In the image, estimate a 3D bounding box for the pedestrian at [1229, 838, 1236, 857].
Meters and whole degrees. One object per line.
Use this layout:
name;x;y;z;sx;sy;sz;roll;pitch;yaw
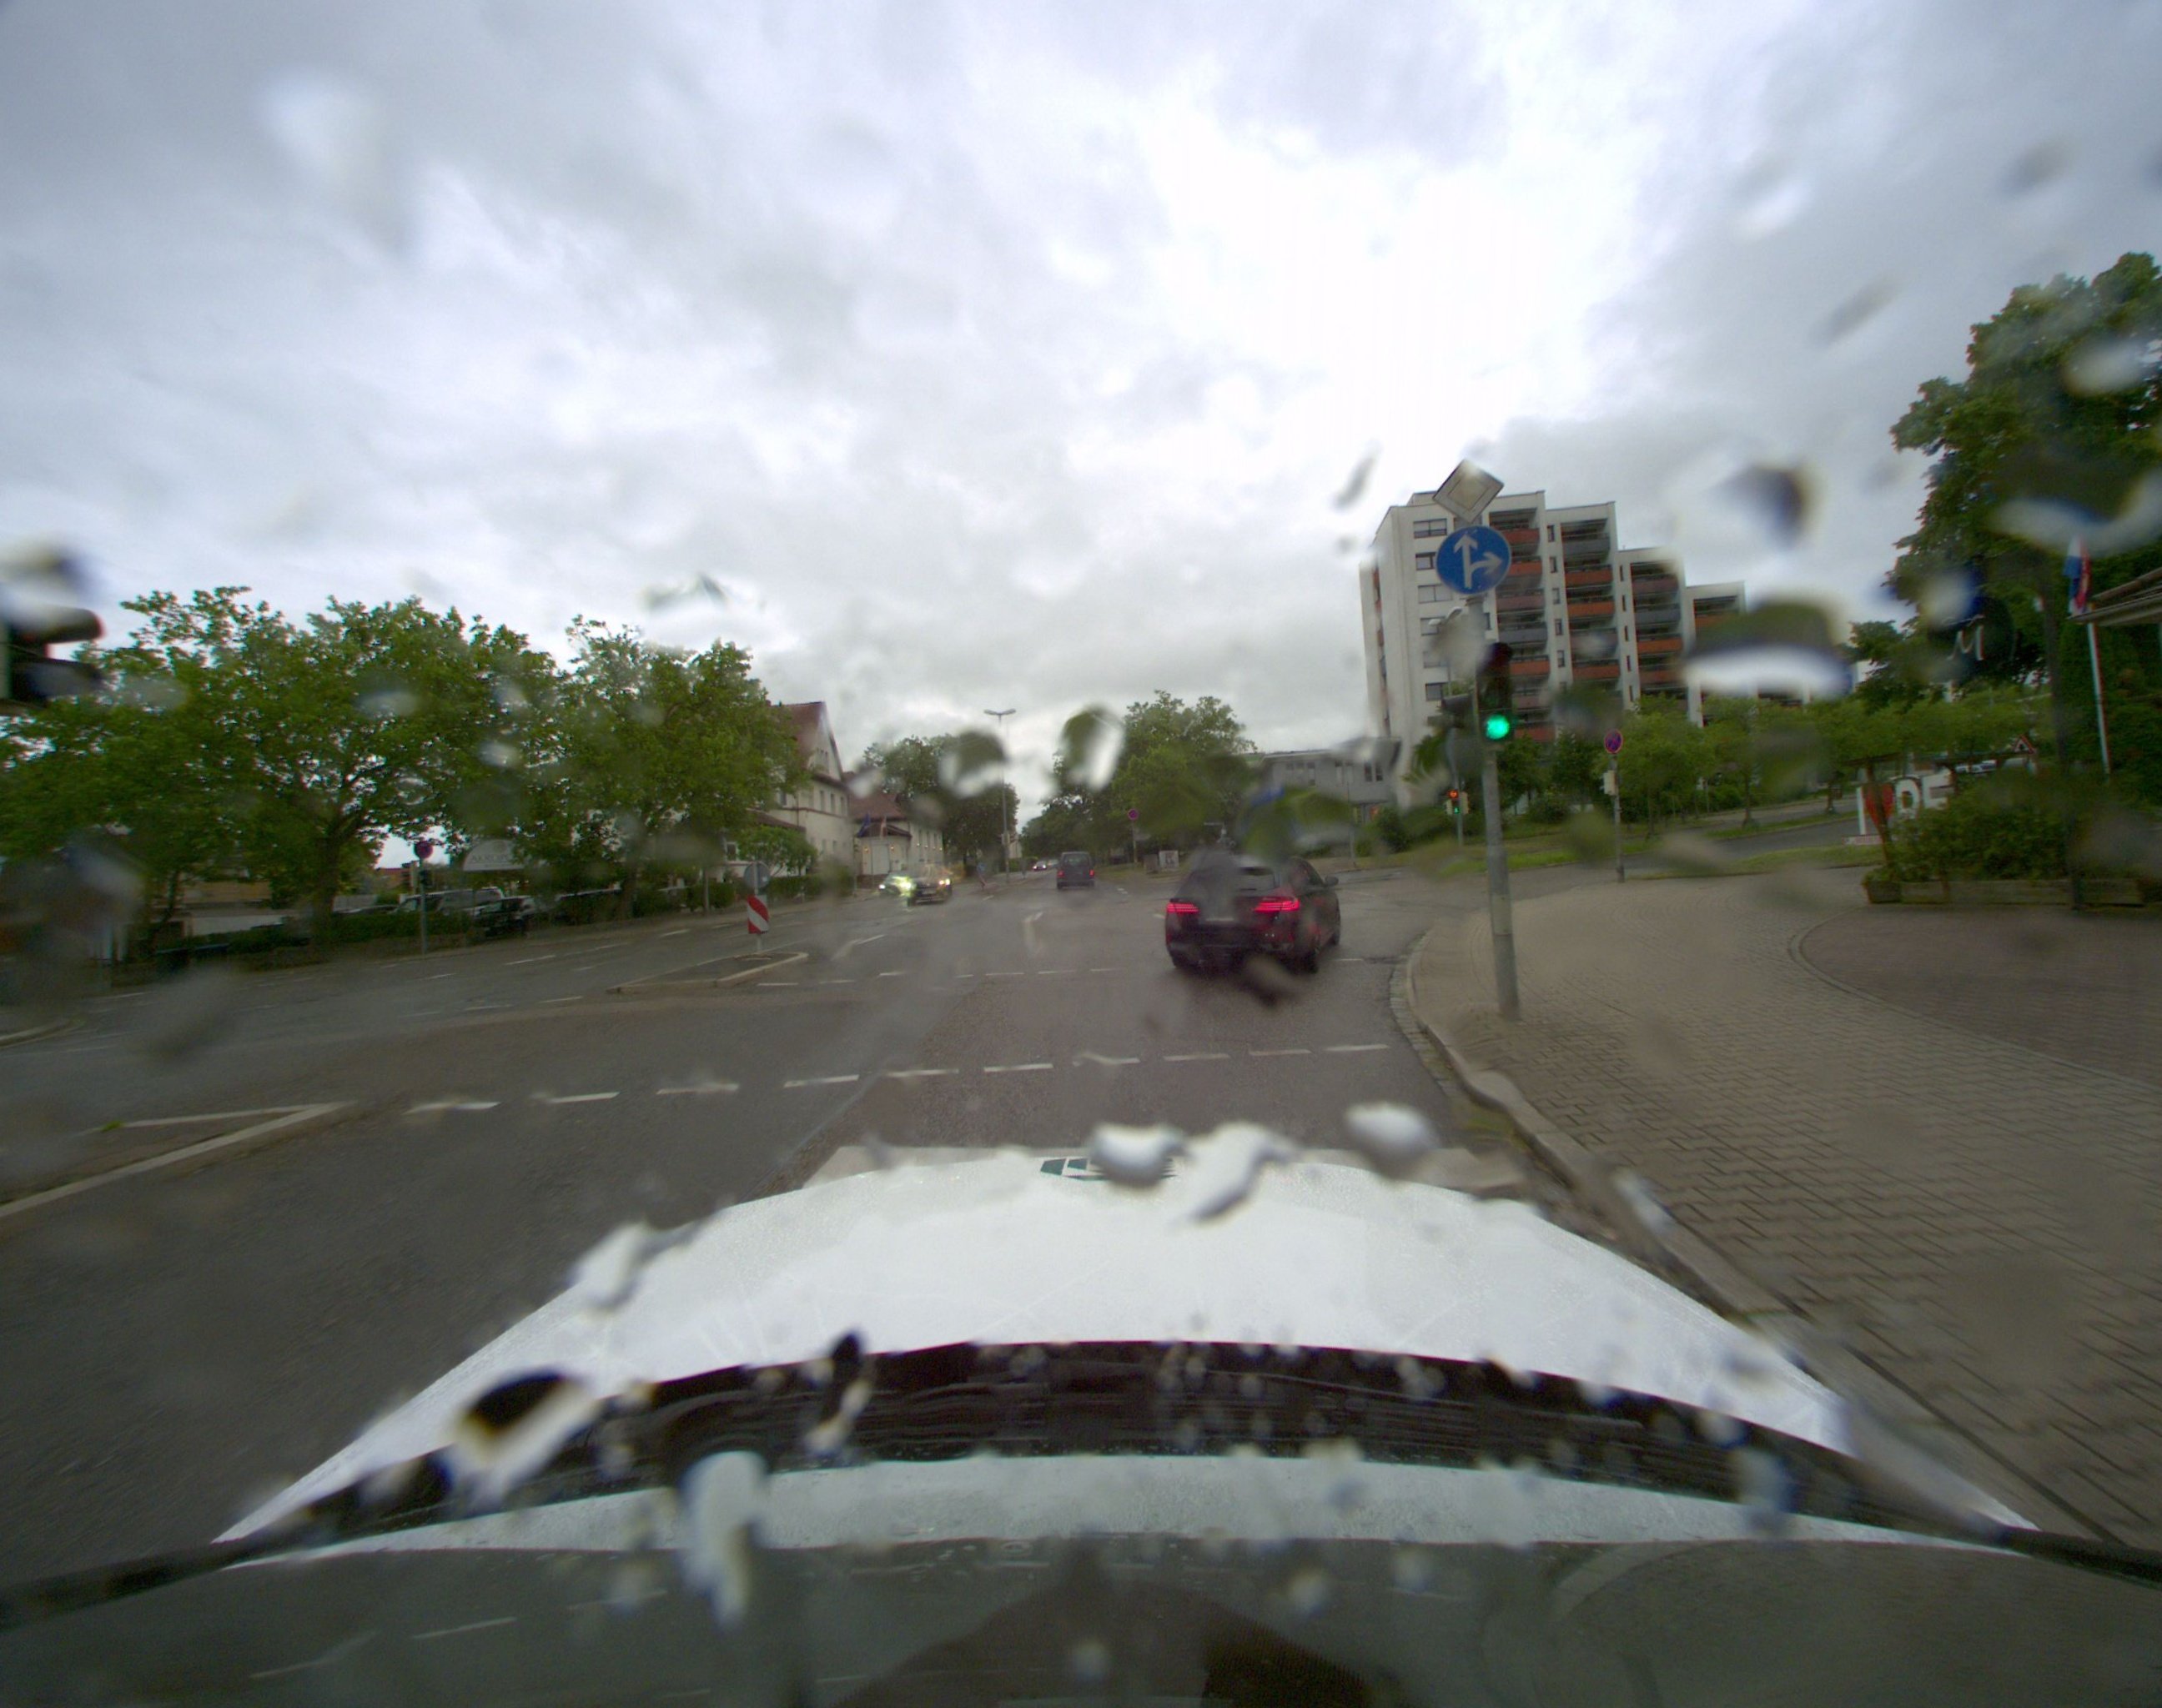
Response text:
pedestrian;12.943;-0.568;69.590;0.597;1.617;0.527;-2;-1;8

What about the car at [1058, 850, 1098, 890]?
car;-0.158;0.767;39.679;1.807;1.809;3.754;-2;-1;-1

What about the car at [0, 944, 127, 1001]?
car;-37.013;4.202;29.036;1.800;1.554;3.500;-2;-1;2

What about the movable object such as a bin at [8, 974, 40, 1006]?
movable object such as a bin;-32.128;4.133;24.758;0.446;0.906;0.456;-2;-1;17

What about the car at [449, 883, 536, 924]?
car;-32.705;2.702;45.429;1.988;2.014;3.996;-2;-1;-2

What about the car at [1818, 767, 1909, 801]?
car;56.443;-5.044;58.871;1.996;2.014;4.345;-1;-1;-14

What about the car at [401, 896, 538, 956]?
car;-21.853;2.513;29.321;1.803;1.551;4.001;-2;3;0

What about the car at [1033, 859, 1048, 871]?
car;-5.776;1.558;115.781;1.787;1.527;4.208;-3;1;0

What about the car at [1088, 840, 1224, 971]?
car;0.916;0.642;11.593;1.519;1.534;3.530;-2;-1;-1

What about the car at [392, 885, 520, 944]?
car;-24.232;2.287;31.800;1.803;1.762;4.001;-2;3;0

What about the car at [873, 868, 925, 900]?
car;-10.006;1.617;45.056;1.903;1.427;4.414;-3;1;-1

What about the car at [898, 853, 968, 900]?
car;-5.728;0.831;31.993;1.893;1.577;4.500;-3;1;-1

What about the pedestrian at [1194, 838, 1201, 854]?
pedestrian;13.016;-0.864;91.020;0.556;1.763;0.727;-2;-1;-3

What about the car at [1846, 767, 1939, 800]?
car;59.121;-5.114;59.425;1.996;2.014;4.345;-1;-1;-14

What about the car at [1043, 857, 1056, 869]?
car;-5.071;1.421;131.891;1.824;1.671;4.050;-3;1;0

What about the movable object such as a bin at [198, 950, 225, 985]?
movable object such as a bin;-27.314;3.557;25.576;0.446;1.043;0.413;-2;-1;17

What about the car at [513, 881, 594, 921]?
car;-29.561;2.589;45.800;1.988;2.014;3.996;-2;-1;-2

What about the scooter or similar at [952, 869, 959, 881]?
scooter or similar;-11.845;1.980;76.872;0.388;1.064;1.409;-2;-1;-2
